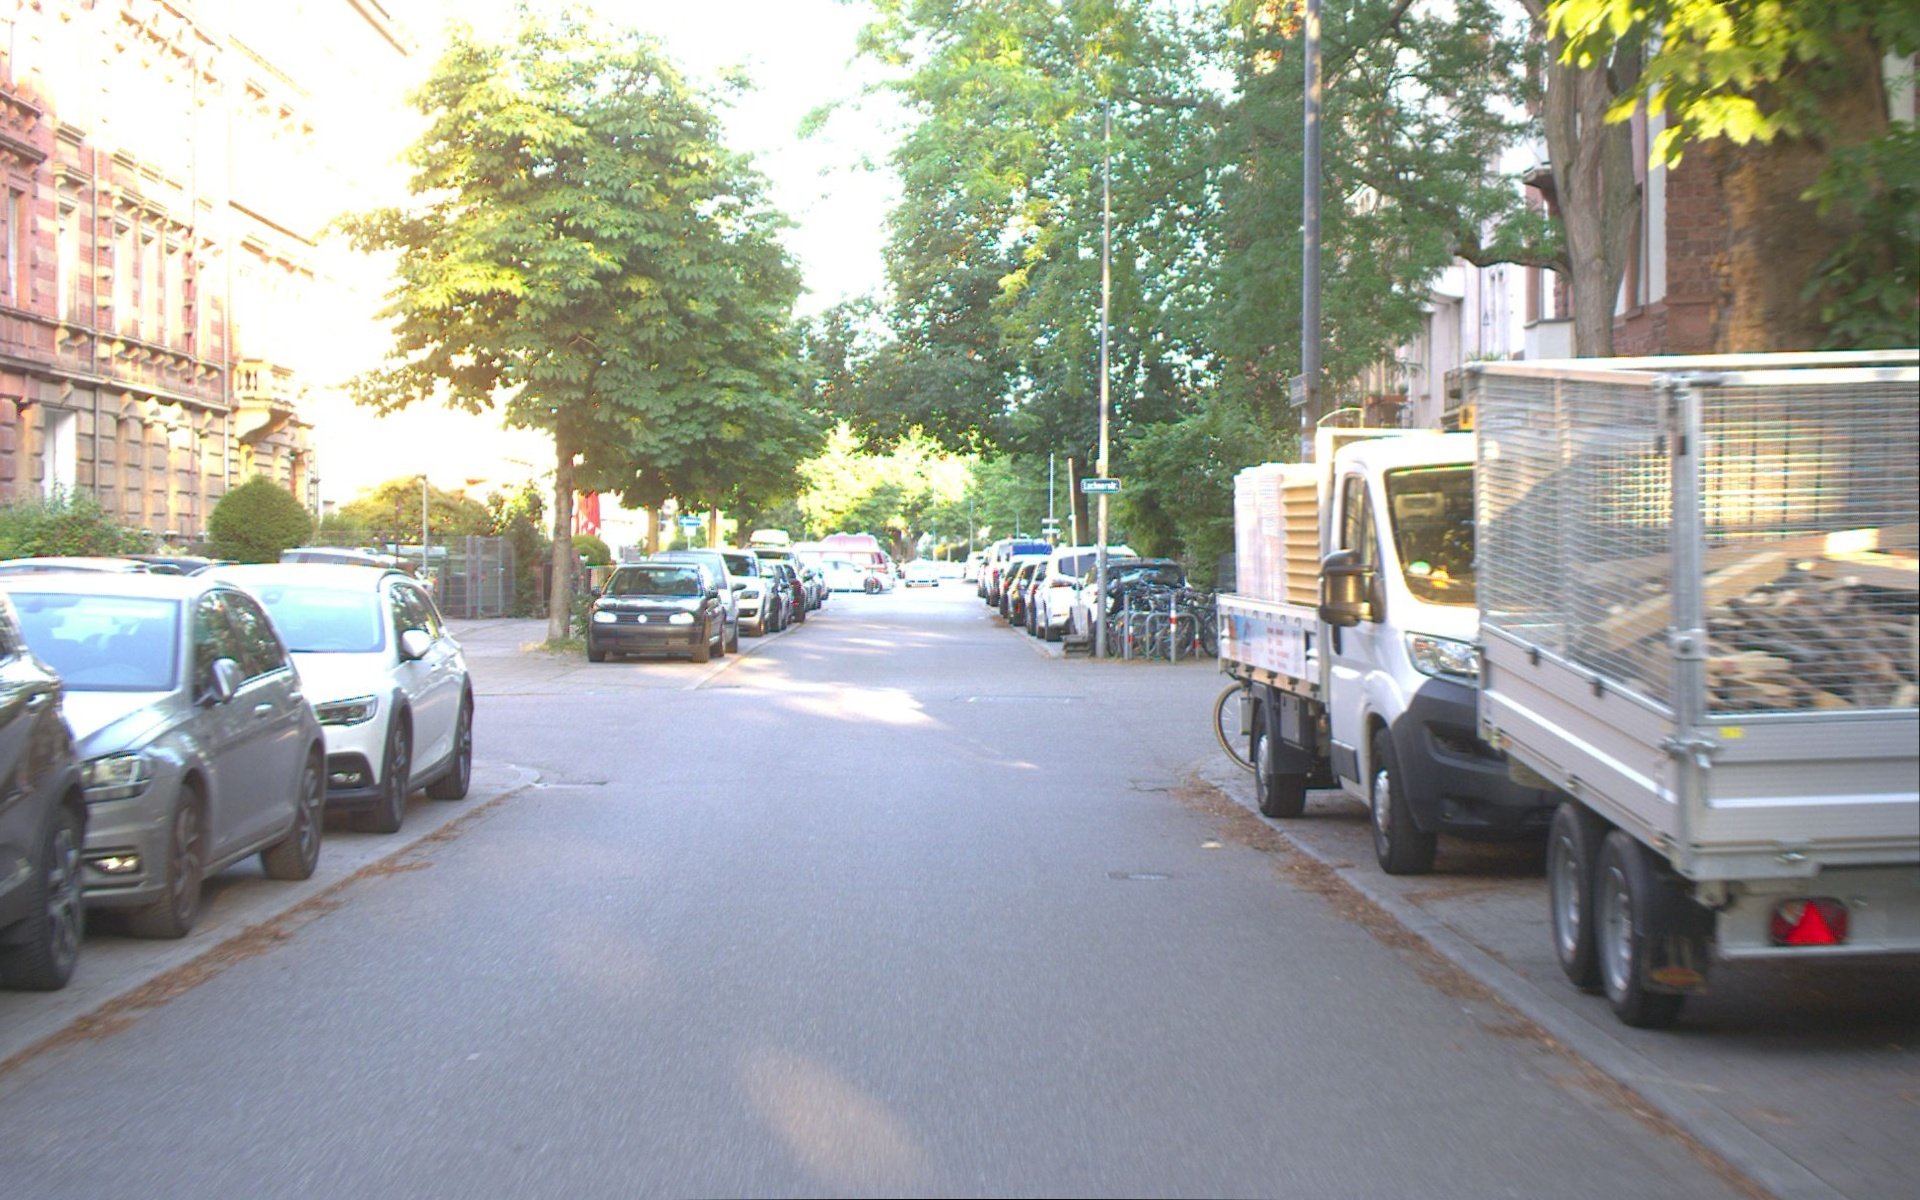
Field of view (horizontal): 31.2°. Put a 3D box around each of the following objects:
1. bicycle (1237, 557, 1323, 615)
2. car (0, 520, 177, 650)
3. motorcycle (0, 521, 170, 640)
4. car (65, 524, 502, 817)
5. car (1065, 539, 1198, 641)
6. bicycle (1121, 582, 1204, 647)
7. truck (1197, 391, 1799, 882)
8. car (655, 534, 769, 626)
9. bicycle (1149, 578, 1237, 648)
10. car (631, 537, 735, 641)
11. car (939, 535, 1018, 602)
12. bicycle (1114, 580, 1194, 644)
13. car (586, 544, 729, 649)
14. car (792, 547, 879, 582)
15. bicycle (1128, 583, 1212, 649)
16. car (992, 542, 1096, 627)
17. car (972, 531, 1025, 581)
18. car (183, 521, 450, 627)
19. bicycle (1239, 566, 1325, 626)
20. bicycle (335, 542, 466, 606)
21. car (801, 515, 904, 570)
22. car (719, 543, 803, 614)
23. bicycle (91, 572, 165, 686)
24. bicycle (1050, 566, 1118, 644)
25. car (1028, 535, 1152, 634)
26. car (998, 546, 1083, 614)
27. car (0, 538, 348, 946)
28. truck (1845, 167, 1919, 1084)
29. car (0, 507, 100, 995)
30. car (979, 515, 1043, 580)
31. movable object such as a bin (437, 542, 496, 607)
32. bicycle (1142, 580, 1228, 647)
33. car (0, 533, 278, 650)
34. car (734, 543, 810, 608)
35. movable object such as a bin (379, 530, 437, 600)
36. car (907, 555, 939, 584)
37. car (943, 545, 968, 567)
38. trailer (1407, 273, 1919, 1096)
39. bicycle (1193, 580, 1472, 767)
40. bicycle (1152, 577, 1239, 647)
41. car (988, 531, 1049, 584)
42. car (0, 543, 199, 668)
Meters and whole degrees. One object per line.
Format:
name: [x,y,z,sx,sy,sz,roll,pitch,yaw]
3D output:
bicycle: [5.799,-0.255,62.321,1.509,1.030,0.330,-1,2,-2]
car: [-11.470,-0.208,40.368,4.094,1.442,1.708,1,2,9]
motorcycle: [-12.555,-0.282,48.137,2.853,1.633,0.675,0,1,8]
car: [-3.953,0.328,20.850,1.689,1.497,4.738,3,1,0]
car: [2.762,-0.193,56.000,1.686,1.587,3.659,0,1,-5]
bicycle: [3.043,0.210,51.684,1.224,0.944,0.330,-1,2,-22]
truck: [2.696,0.140,19.096,1.977,2.237,6.777,0,0,-3]
car: [-4.781,-0.425,66.770,1.921,1.711,4.428,1,1,-1]
bicycle: [3.369,0.190,49.670,1.224,0.983,0.330,-1,2,-2]
car: [-4.429,-0.204,55.226,1.595,1.598,3.745,1,1,-4]
car: [0.436,-0.767,84.851,1.686,1.600,3.940,1,0,-3]
bicycle: [2.955,0.180,52.297,1.224,0.948,0.330,-1,2,-28]
car: [-4.402,-0.082,50.547,1.616,1.465,3.961,1,1,2]
car: [-5.260,-1.503,144.959,3.618,1.456,1.607,0,1,-4]
bicycle: [3.121,0.232,50.985,1.224,0.954,0.330,-1,2,-22]
car: [1.618,-0.306,67.247,1.686,1.600,4.210,1,0,-3]
car: [1.398,-1.605,125.786,1.686,1.805,3.940,1,0,-3]
car: [-10.752,-0.444,57.618,4.092,1.522,1.709,3,1,-1]
bicycle: [5.802,-0.074,61.994,1.509,1.030,0.330,-1,2,-2]
bicycle: [-11.545,-0.541,70.930,2.529,1.188,0.643,3,1,6]
car: [-4.623,-2.479,147.764,4.349,2.310,1.746,1,1,-2]
car: [-4.509,-0.512,78.279,1.715,1.561,3.788,1,1,-1]
bicycle: [-8.793,0.304,36.296,0.336,1.177,1.878,0,0,-27]
bicycle: [1.901,0.076,52.518,0.444,1.169,1.634,1,1,24]
car: [2.297,-0.286,61.796,1.798,1.705,4.601,0,0,-3]
car: [1.772,-0.456,76.826,1.686,1.436,4.210,-2,1,-1]
car: [-3.859,0.502,14.850,1.689,1.497,4.402,1,0,-1]
truck: [3.326,0.091,6.571,1.954,2.238,4.645,-2,2,-1]
car: [-3.849,0.475,10.086,1.689,1.558,4.403,3,1,-3]
car: [1.548,-1.590,105.210,1.680,1.934,3.881,1,0,-3]
movable object such as a bin: [-10.526,-0.550,73.381,1.013,1.316,1.005,3,2,4]
bicycle: [3.317,0.192,50.591,1.223,0.960,0.330,-1,2,-17]
car: [-10.987,-0.134,45.183,3.564,1.442,1.817,1,2,8]
car: [-4.730,-0.627,87.140,1.715,1.590,4.519,1,1,-1]
movable object such as a bin: [-11.754,-0.750,73.206,1.096,1.409,1.005,2,2,-14]
car: [-2.137,-1.761,198.964,1.813,1.590,3.483,1,1,-1]
car: [-0.330,-3.135,244.533,1.715,1.590,3.483,1,1,-1]
trailer: [2.918,0.170,12.009,1.954,2.288,4.645,-2,1,-1]
bicycle: [2.672,0.520,24.669,1.902,1.254,0.407,-2,1,-6]
bicycle: [3.428,0.170,50.061,1.224,0.984,0.330,-1,2,-4]
car: [1.700,-1.246,101.393,1.538,1.516,3.432,1,0,-3]
car: [-11.722,0.034,42.586,4.094,1.442,1.817,1,2,10]
